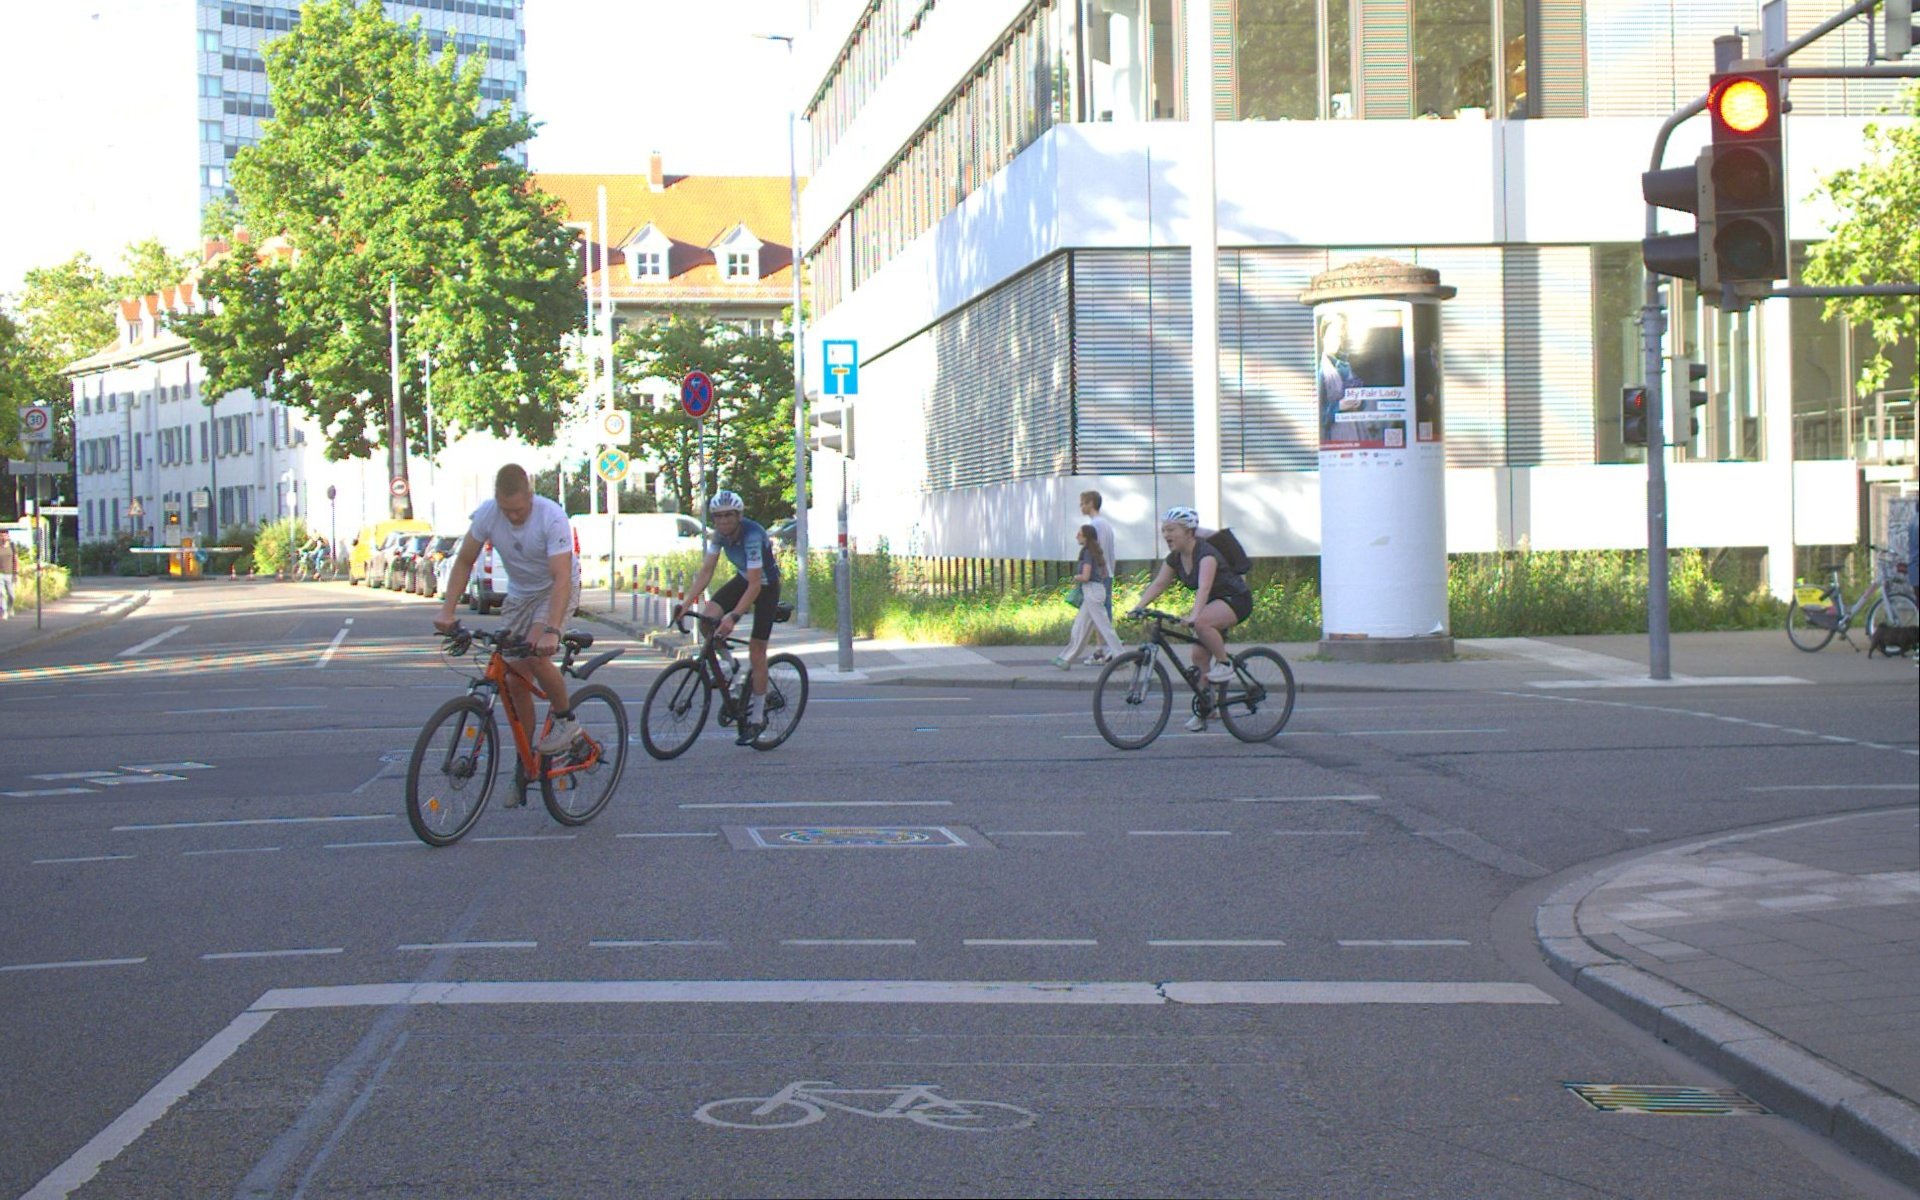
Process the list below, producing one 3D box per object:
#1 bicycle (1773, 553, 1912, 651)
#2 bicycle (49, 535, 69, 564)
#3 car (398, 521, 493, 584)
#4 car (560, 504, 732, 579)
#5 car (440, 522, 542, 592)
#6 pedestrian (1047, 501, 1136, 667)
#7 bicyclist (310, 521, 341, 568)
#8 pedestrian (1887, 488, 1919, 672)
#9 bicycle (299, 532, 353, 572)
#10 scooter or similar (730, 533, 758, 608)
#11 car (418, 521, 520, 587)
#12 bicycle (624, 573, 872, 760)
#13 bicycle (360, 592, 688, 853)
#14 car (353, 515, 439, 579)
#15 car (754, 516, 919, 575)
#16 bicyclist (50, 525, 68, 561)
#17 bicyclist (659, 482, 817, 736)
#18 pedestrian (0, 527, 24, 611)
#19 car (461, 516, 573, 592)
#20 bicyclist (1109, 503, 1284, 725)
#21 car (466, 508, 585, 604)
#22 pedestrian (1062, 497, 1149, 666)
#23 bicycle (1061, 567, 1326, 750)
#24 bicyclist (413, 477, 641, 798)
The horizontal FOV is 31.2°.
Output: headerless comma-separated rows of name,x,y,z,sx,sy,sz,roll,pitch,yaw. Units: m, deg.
bicycle,9.276,0.011,36.155,0.378,1.005,1.432,-2,2,-42
bicycle,-37.046,-2.077,141.331,0.615,1.148,1.970,-1,1,-19
car,-12.892,-1.185,85.983,1.993,1.493,4.653,1,1,-13
car,-9.417,-1.732,102.935,4.791,2.151,2.001,1,0,-17
car,-10.516,-0.953,76.812,1.993,1.493,4.653,1,1,-11
pedestrian,1.374,-0.170,35.929,0.765,1.713,0.647,1,0,17
bicyclist,-19.018,-1.670,103.023,0.591,1.392,0.747,0,1,23
pedestrian,9.710,-0.193,34.026,0.915,1.809,0.761,1,0,22
bicycle,-19.008,-1.437,103.044,0.591,1.148,1.968,0,1,23
scooter or similar,-3.669,-0.503,58.297,0.437,1.252,1.420,-1,1,-4
car,-11.638,-1.079,81.259,1.993,1.493,4.288,1,1,-13
bicycle,-1.378,0.415,22.655,0.627,1.148,1.780,0,2,36
bicycle,-2.096,0.562,16.815,0.626,1.148,1.967,0,1,25
car,-15.752,-1.475,95.838,1.993,1.719,4.653,1,1,-14
car,-3.770,-1.663,104.779,4.635,1.719,2.001,1,1,-16
bicyclist,-37.022,-2.325,141.243,0.615,1.467,0.741,-1,1,-18
bicyclist,-1.454,0.047,22.551,0.627,1.623,0.824,0,1,36
pedestrian,-18.093,-0.589,65.064,0.699,1.581,0.637,1,0,-16
car,-9.182,-0.950,71.040,1.993,1.493,4.653,1,1,-11
bicyclist,1.589,0.081,23.075,0.971,1.441,0.627,-2,1,-36
car,-8.230,-0.830,64.827,1.993,1.719,4.653,1,1,-10
pedestrian,1.559,-0.200,36.781,0.765,1.789,0.647,1,0,18
bicycle,1.579,0.371,23.087,1.779,1.148,0.627,-2,2,-36
bicyclist,-2.107,0.167,16.816,0.703,1.517,0.917,0,1,25
